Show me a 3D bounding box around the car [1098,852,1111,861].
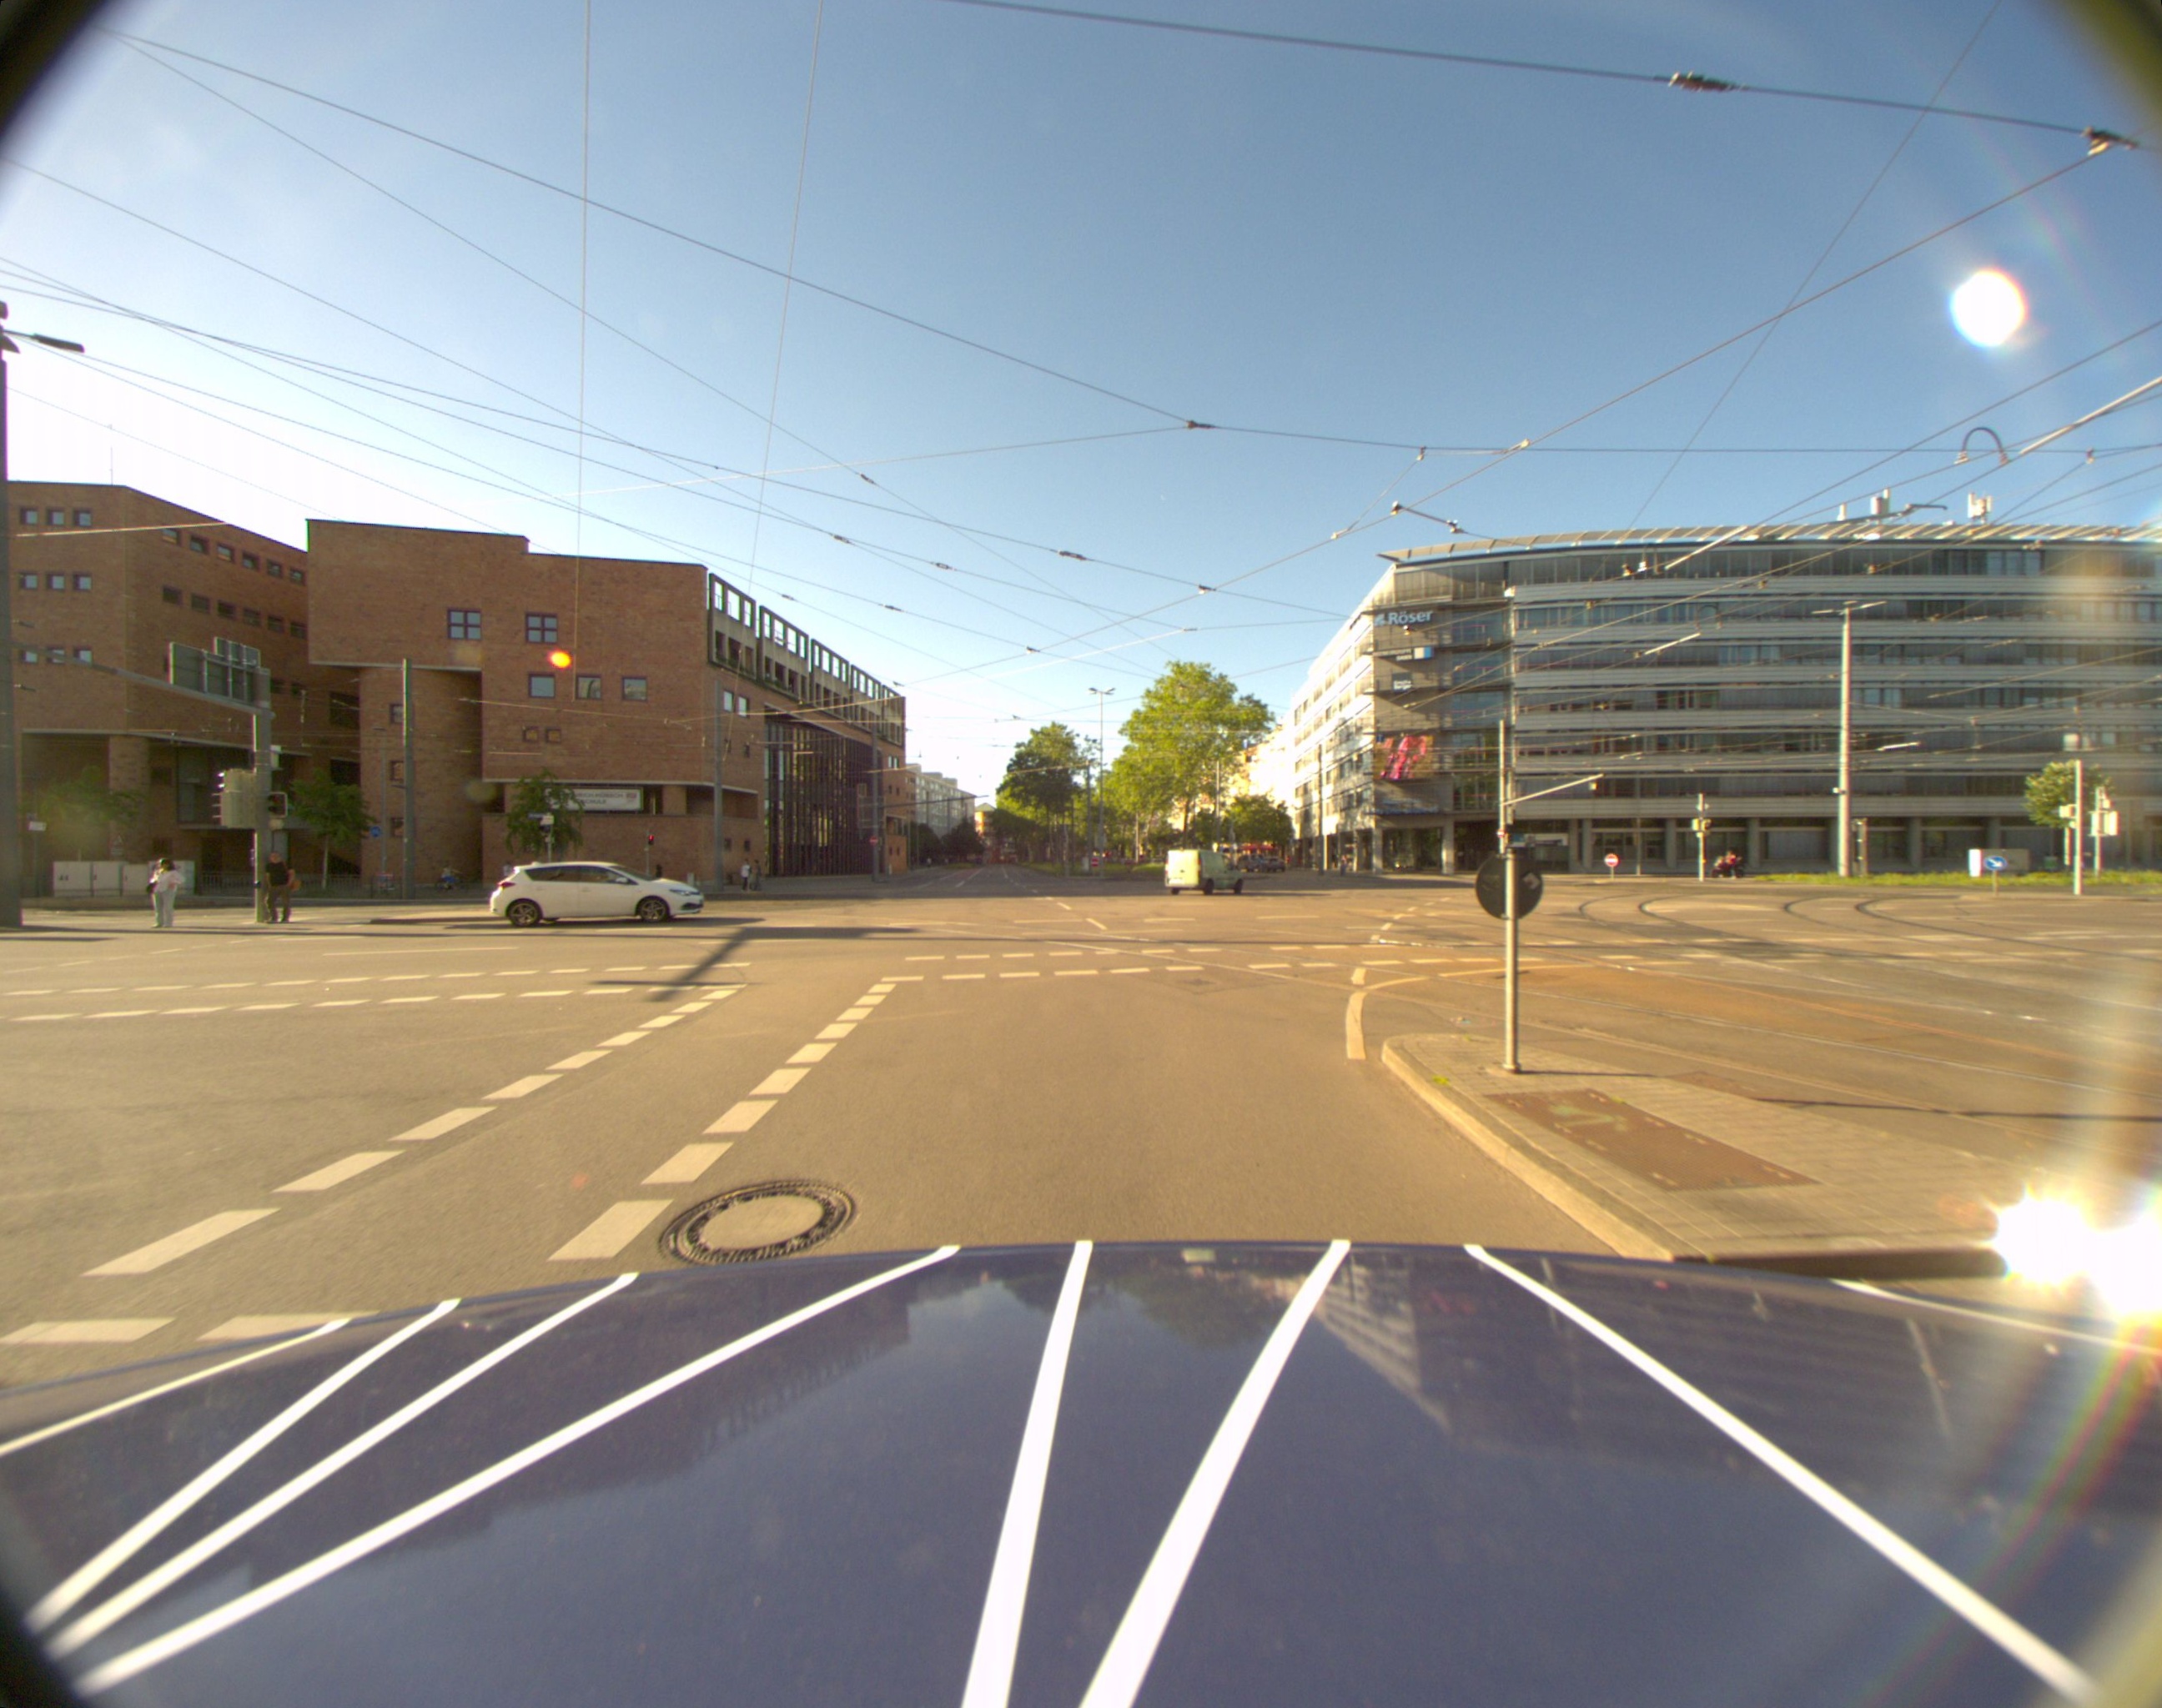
[{"bbox_3d":[5.209,0.487,166.231,1.824,1.758,4.312,0,-2,-12],"label":"car"}]

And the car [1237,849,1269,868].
[{"bbox_3d":[18.109,0.477,80.364,1.867,2.004,4.455,0,0,-8],"label":"car"}]

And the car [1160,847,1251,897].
[{"bbox_3d":[5.189,0.668,31.250,1.839,1.825,4.115,1,2,40],"label":"car"}]

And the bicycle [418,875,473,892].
[{"bbox_3d":[-34.838,1.625,41.675,2.345,0.899,0.650,0,0,-6],"label":"bicycle"}]

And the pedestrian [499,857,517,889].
[{"bbox_3d":[-32.316,1.087,42.865,0.573,1.775,0.549,2,0,-5],"label":"pedestrian"}]

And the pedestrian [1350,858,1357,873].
[{"bbox_3d":[22.219,0.942,62.000,0.443,1.203,0.462,1,0,0],"label":"pedestrian"}]

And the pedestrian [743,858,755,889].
[{"bbox_3d":[-18.921,1.098,43.296,0.549,1.776,0.572,0,1,-15],"label":"pedestrian"}]

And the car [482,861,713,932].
[{"bbox_3d":[-11.371,0.952,18.237,4.301,1.440,1.842,-1,2,-17],"label":"car"}]

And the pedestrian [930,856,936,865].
[{"bbox_3d":[-21.739,0.942,111.720,0.812,1.376,0.687,0,0,-5],"label":"pedestrian"}]

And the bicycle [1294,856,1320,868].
[{"bbox_3d":[22.836,0.842,76.902,2.391,1.206,0.776,1,-1,6],"label":"bicycle"}]

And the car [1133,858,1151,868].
[{"bbox_3d":[9.139,1.365,114.060,1.867,1.466,3.975,0,0,-7],"label":"car"}]

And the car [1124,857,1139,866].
[{"bbox_3d":[8.280,1.329,125.256,1.700,1.431,4.016,-1,-1,-9],"label":"car"}]

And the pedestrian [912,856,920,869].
[{"bbox_3d":[-19.534,1.005,90.071,0.813,1.596,0.686,0,0,-20],"label":"pedestrian"}]

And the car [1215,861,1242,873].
[{"bbox_3d":[18.137,1.612,93.809,1.868,1.466,3.973,0,0,-12],"label":"car"}]

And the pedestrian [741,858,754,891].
[{"bbox_3d":[-18.514,1.127,42.187,0.549,1.776,0.572,0,1,-15],"label":"pedestrian"}]

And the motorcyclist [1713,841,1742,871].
[{"bbox_3d":[40.280,0.129,47.329,1.111,1.846,0.822,0,1,0],"label":"motorcyclist"}]

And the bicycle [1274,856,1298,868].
[{"bbox_3d":[21.980,0.849,81.431,2.396,1.206,0.774,1,-1,-14],"label":"bicycle"}]

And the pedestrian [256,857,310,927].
[{"bbox_3d":[-19.886,0.923,18.949,0.594,1.717,0.723,0,0,-6],"label":"pedestrian"}]

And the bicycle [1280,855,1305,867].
[{"bbox_3d":[21.855,0.773,78.359,2.396,1.206,0.774,1,-1,-14],"label":"bicycle"}]

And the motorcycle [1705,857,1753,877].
[{"bbox_3d":[40.359,0.800,47.359,2.254,1.214,0.822,0,1,0],"label":"motorcycle"}]

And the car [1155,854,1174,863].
[{"bbox_3d":[13.371,0.706,121.634,1.868,1.466,3.973,0,0,-12],"label":"car"}]

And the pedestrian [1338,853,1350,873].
[{"bbox_3d":[21.633,0.737,62.463,0.660,1.630,0.793,1,-1,0],"label":"pedestrian"}]

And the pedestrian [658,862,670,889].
[{"bbox_3d":[-23.032,1.173,41.971,0.574,1.468,0.548,0,0,-25],"label":"pedestrian"}]

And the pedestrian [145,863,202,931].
[{"bbox_3d":[-21.564,1.004,18.064,0.647,1.567,0.581,0,0,-21],"label":"pedestrian"}]

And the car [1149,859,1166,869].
[{"bbox_3d":[10.431,1.371,103.461,1.666,1.380,3.535,2,-1,-4],"label":"car"}]

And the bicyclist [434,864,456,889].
[{"bbox_3d":[-34.860,1.228,41.671,0.652,1.331,0.647,0,0,-6],"label":"bicyclist"}]

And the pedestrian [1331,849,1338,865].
[{"bbox_3d":[28.342,0.345,85.041,0.586,1.723,0.794,-1,-2,11],"label":"pedestrian"}]

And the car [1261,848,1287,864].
[{"bbox_3d":[19.069,0.220,75.062,1.865,1.466,3.979,0,0,5],"label":"car"}]

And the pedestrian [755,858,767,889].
[{"bbox_3d":[-18.131,1.096,43.089,0.549,1.776,0.572,0,1,-15],"label":"pedestrian"}]
